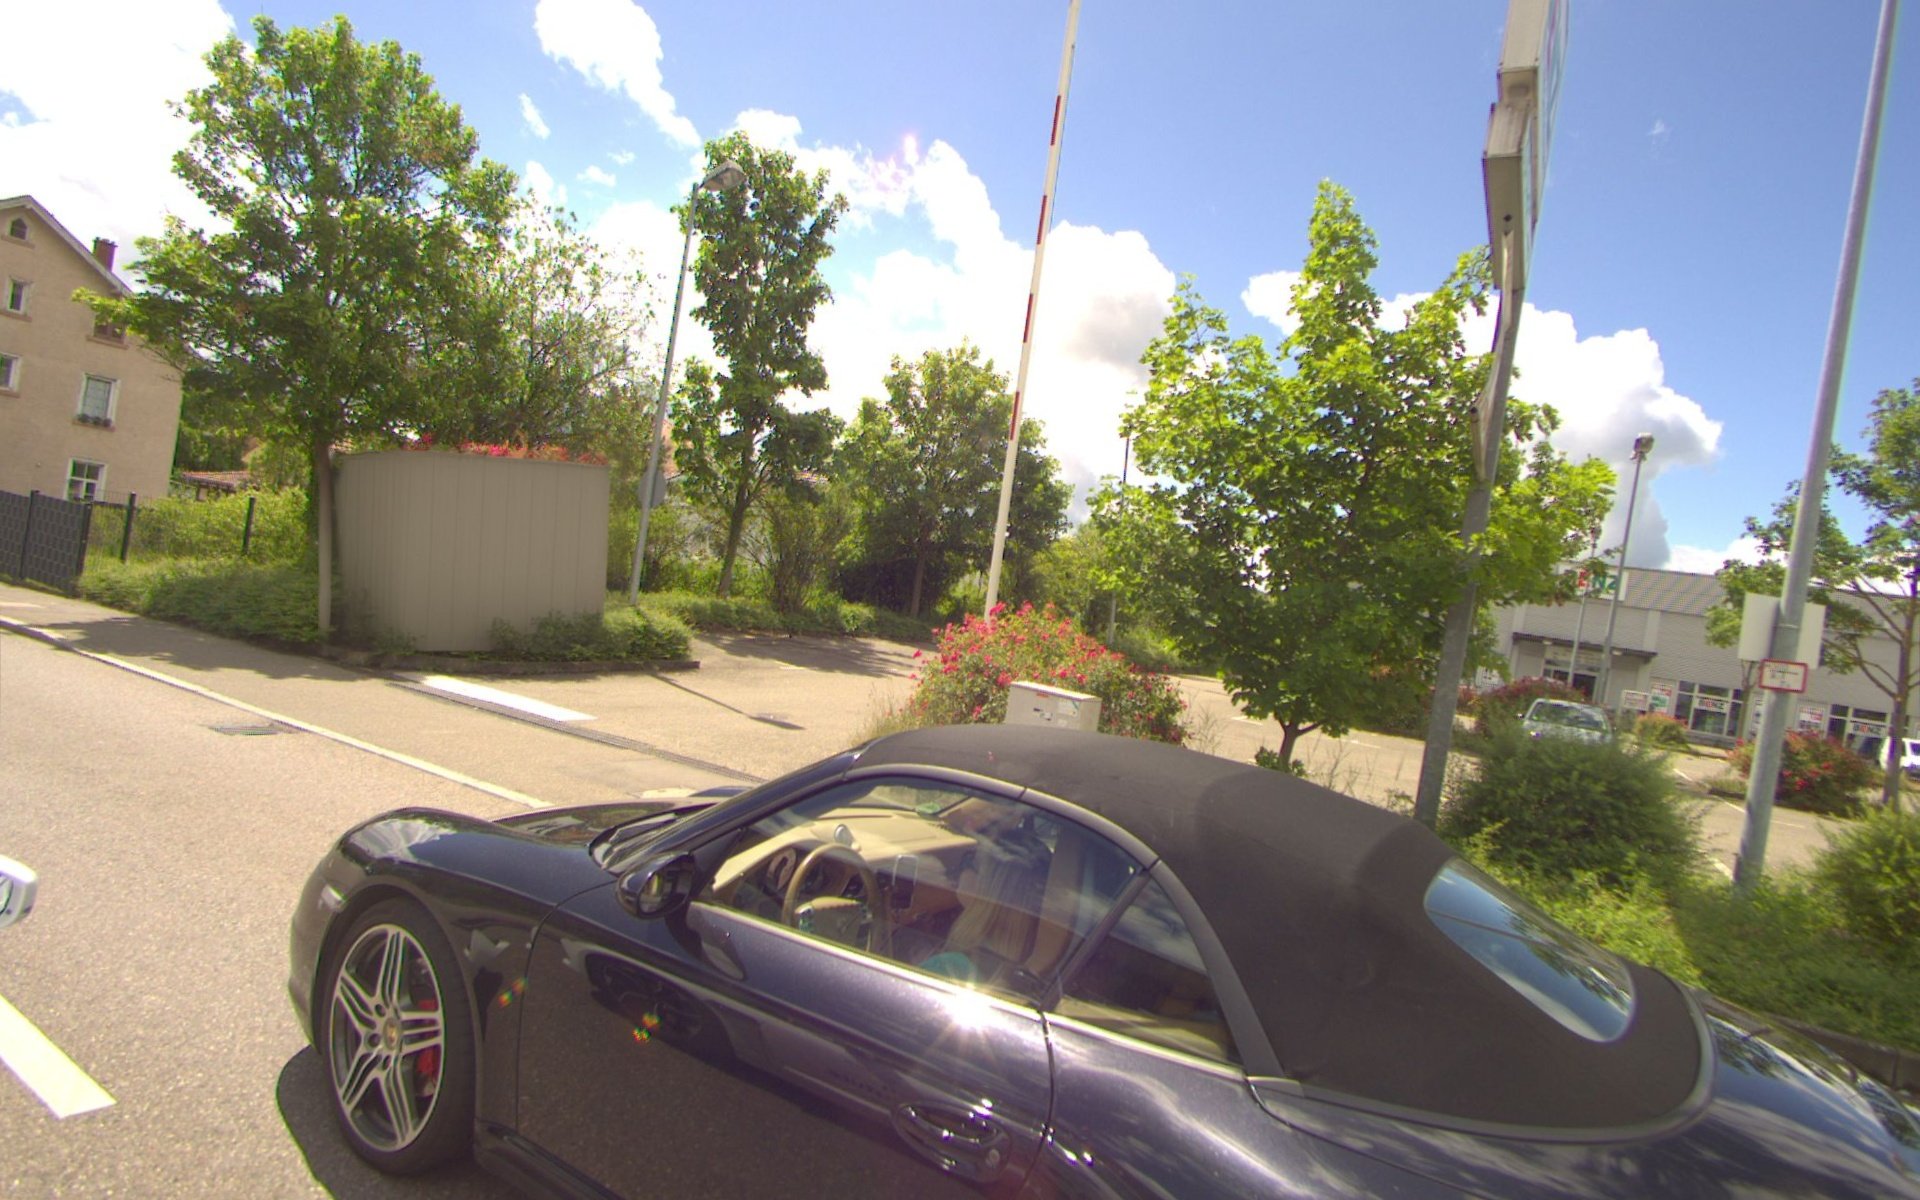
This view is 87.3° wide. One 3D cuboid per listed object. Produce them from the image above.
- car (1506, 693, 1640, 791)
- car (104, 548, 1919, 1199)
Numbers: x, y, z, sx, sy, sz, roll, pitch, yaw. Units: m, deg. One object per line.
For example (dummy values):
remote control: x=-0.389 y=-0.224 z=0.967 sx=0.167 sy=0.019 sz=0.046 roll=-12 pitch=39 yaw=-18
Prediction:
car: x=11.852 y=2.669 z=19.677 sx=1.856 sy=1.386 sz=3.879 roll=9 pitch=0 yaw=29
car: x=-0.142 y=0.952 z=2.656 sx=4.137 sy=1.393 sz=1.934 roll=11 pitch=1 yaw=31
